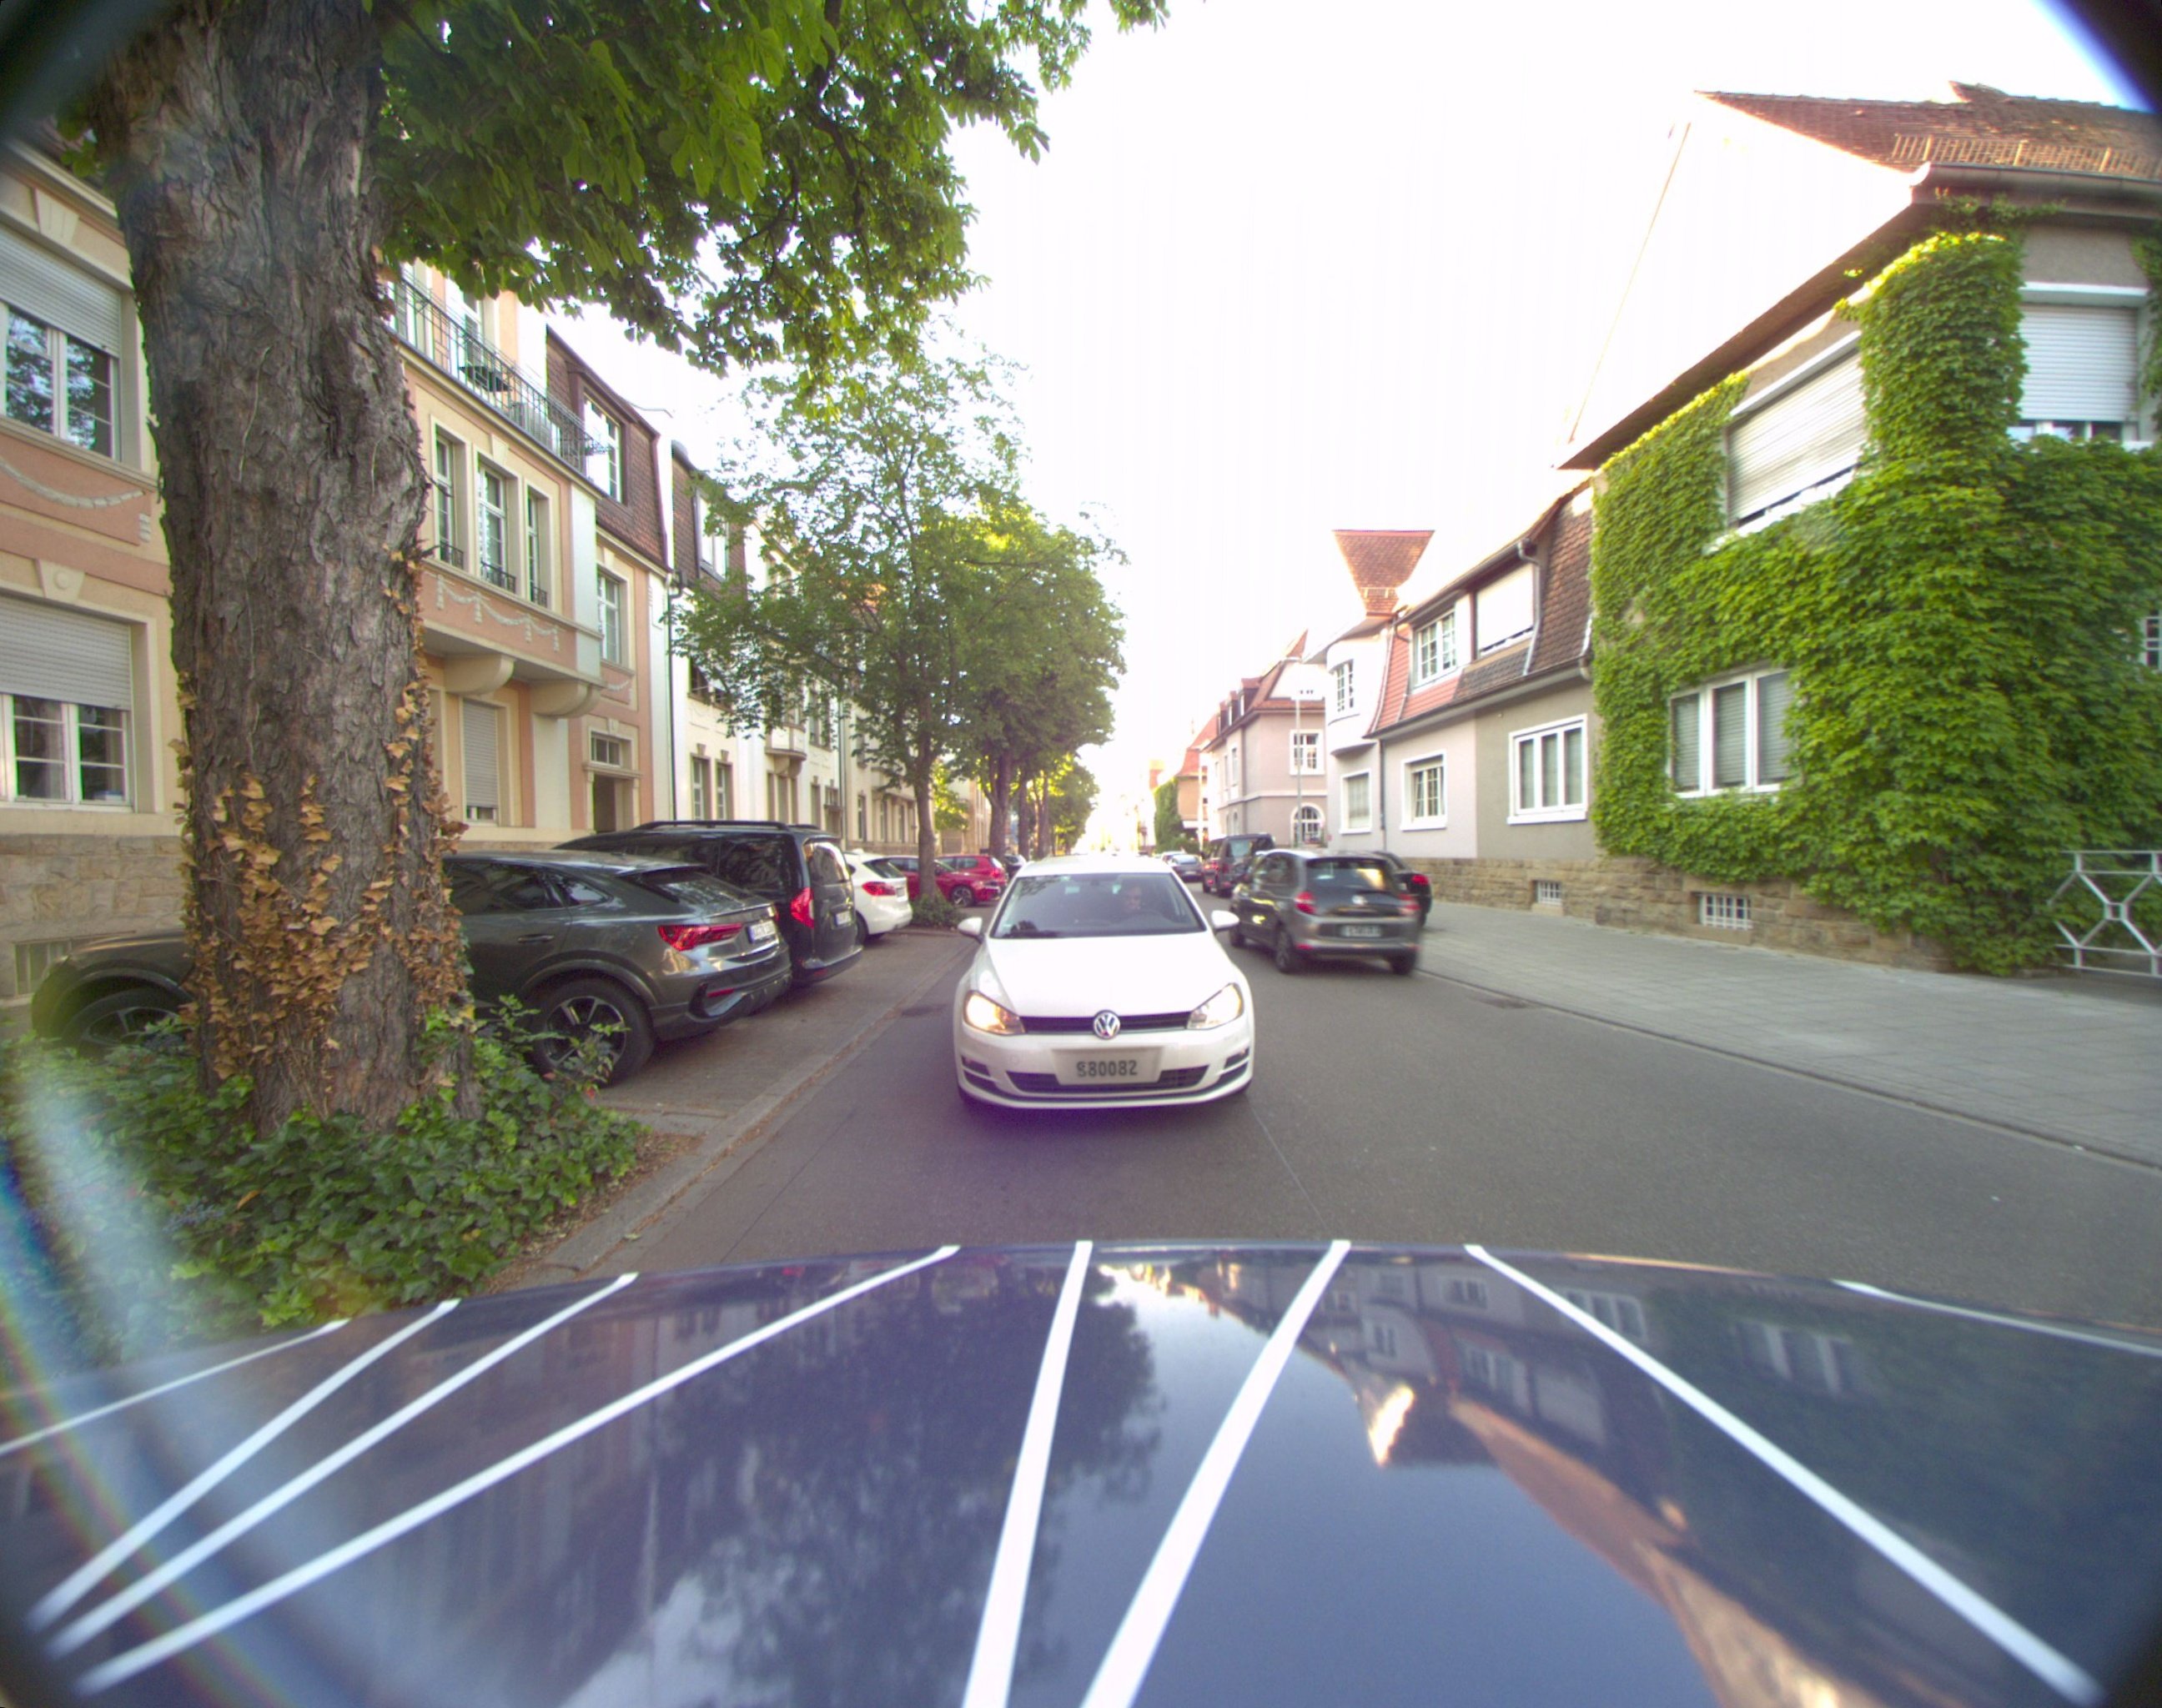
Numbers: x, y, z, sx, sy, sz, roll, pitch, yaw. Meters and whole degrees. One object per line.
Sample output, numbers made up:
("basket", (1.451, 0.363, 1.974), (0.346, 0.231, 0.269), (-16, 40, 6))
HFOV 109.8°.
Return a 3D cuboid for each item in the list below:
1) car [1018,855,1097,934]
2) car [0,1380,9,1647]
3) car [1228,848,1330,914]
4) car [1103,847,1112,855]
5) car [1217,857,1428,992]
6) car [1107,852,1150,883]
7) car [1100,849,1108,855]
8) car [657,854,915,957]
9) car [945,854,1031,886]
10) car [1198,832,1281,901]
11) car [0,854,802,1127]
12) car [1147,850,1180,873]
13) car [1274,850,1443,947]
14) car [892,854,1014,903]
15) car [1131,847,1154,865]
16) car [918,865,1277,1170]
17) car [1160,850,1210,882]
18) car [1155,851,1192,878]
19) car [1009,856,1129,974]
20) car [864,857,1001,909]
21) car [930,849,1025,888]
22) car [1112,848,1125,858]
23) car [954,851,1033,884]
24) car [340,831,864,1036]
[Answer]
("car", (-0.454, 0.821, 17.148), (1.560, 1.546, 3.738), (1, 0, 1))
("car", (-4.664, 0.792, 0.513), (4.835, 1.814, 1.880), (1, 1, -4))
("car", (5.222, 0.651, 20.573), (1.611, 1.455, 4.023), (-4, 1, 0))
("car", (5.237, -0.553, 149.295), (1.643, 1.461, 3.689), (-3, 0, 0))
("car", (3.088, 0.816, 10.490), (1.620, 1.493, 3.591), (1, 1, -3))
("car", (2.330, 0.638, 38.033), (1.786, 1.453, 4.299), (1, 0, -1))
("car", (5.154, -0.471, 173.338), (1.643, 1.461, 3.689), (-3, 0, 0))
("car", (-4.662, 0.797, 12.401), (3.623, 1.541, 1.537), (1, 1, -4))
("car", (-4.139, 0.718, 34.129), (3.622, 1.395, 1.537), (0, 1, 0))
("car", (5.144, 0.347, 25.257), (1.719, 1.961, 4.310), (-4, 1, 0))
("car", (-4.360, 0.829, 5.411), (4.173, 1.583, 1.594), (1, 1, -4))
("car", (5.445, 0.455, 50.627), (1.719, 1.363, 3.945), (-3, 0, 0))
("car", (5.051, 0.725, 14.456), (1.751, 1.421, 4.023), (-4, 1, 1))
("car", (-4.043, 0.761, 24.338), (3.622, 1.456, 1.537), (1, 1, 0))
("car", (5.491, 0.155, 68.248), (1.643, 1.461, 3.945), (-3, 0, 0))
("car", (0.048, 0.867, 5.930), (1.799, 1.420, 4.023), (-2, 0, -1))
("car", (4.981, 0.548, 36.896), (1.719, 1.363, 4.334), (-3, 0, 0))
("car", (5.093, 0.536, 42.228), (1.541, 1.363, 3.945), (-3, 0, 0))
("car", (-0.137, 0.834, 12.262), (1.600, 1.546, 4.000), (1, 0, 1))
("car", (-4.188, 0.798, 21.808), (3.622, 1.395, 1.537), (1, 1, 0))
("car", (-4.171, 0.573, 30.940), (3.622, 1.555, 1.537), (0, 1, 0))
("car", (5.717, -0.120, 115.848), (1.643, 1.461, 3.689), (-3, 0, 0))
("car", (-4.199, 0.637, 36.869), (3.622, 1.555, 1.537), (0, 1, 0))
("car", (-4.479, 0.708, 7.630), (4.173, 1.816, 1.594), (1, 1, -4))
